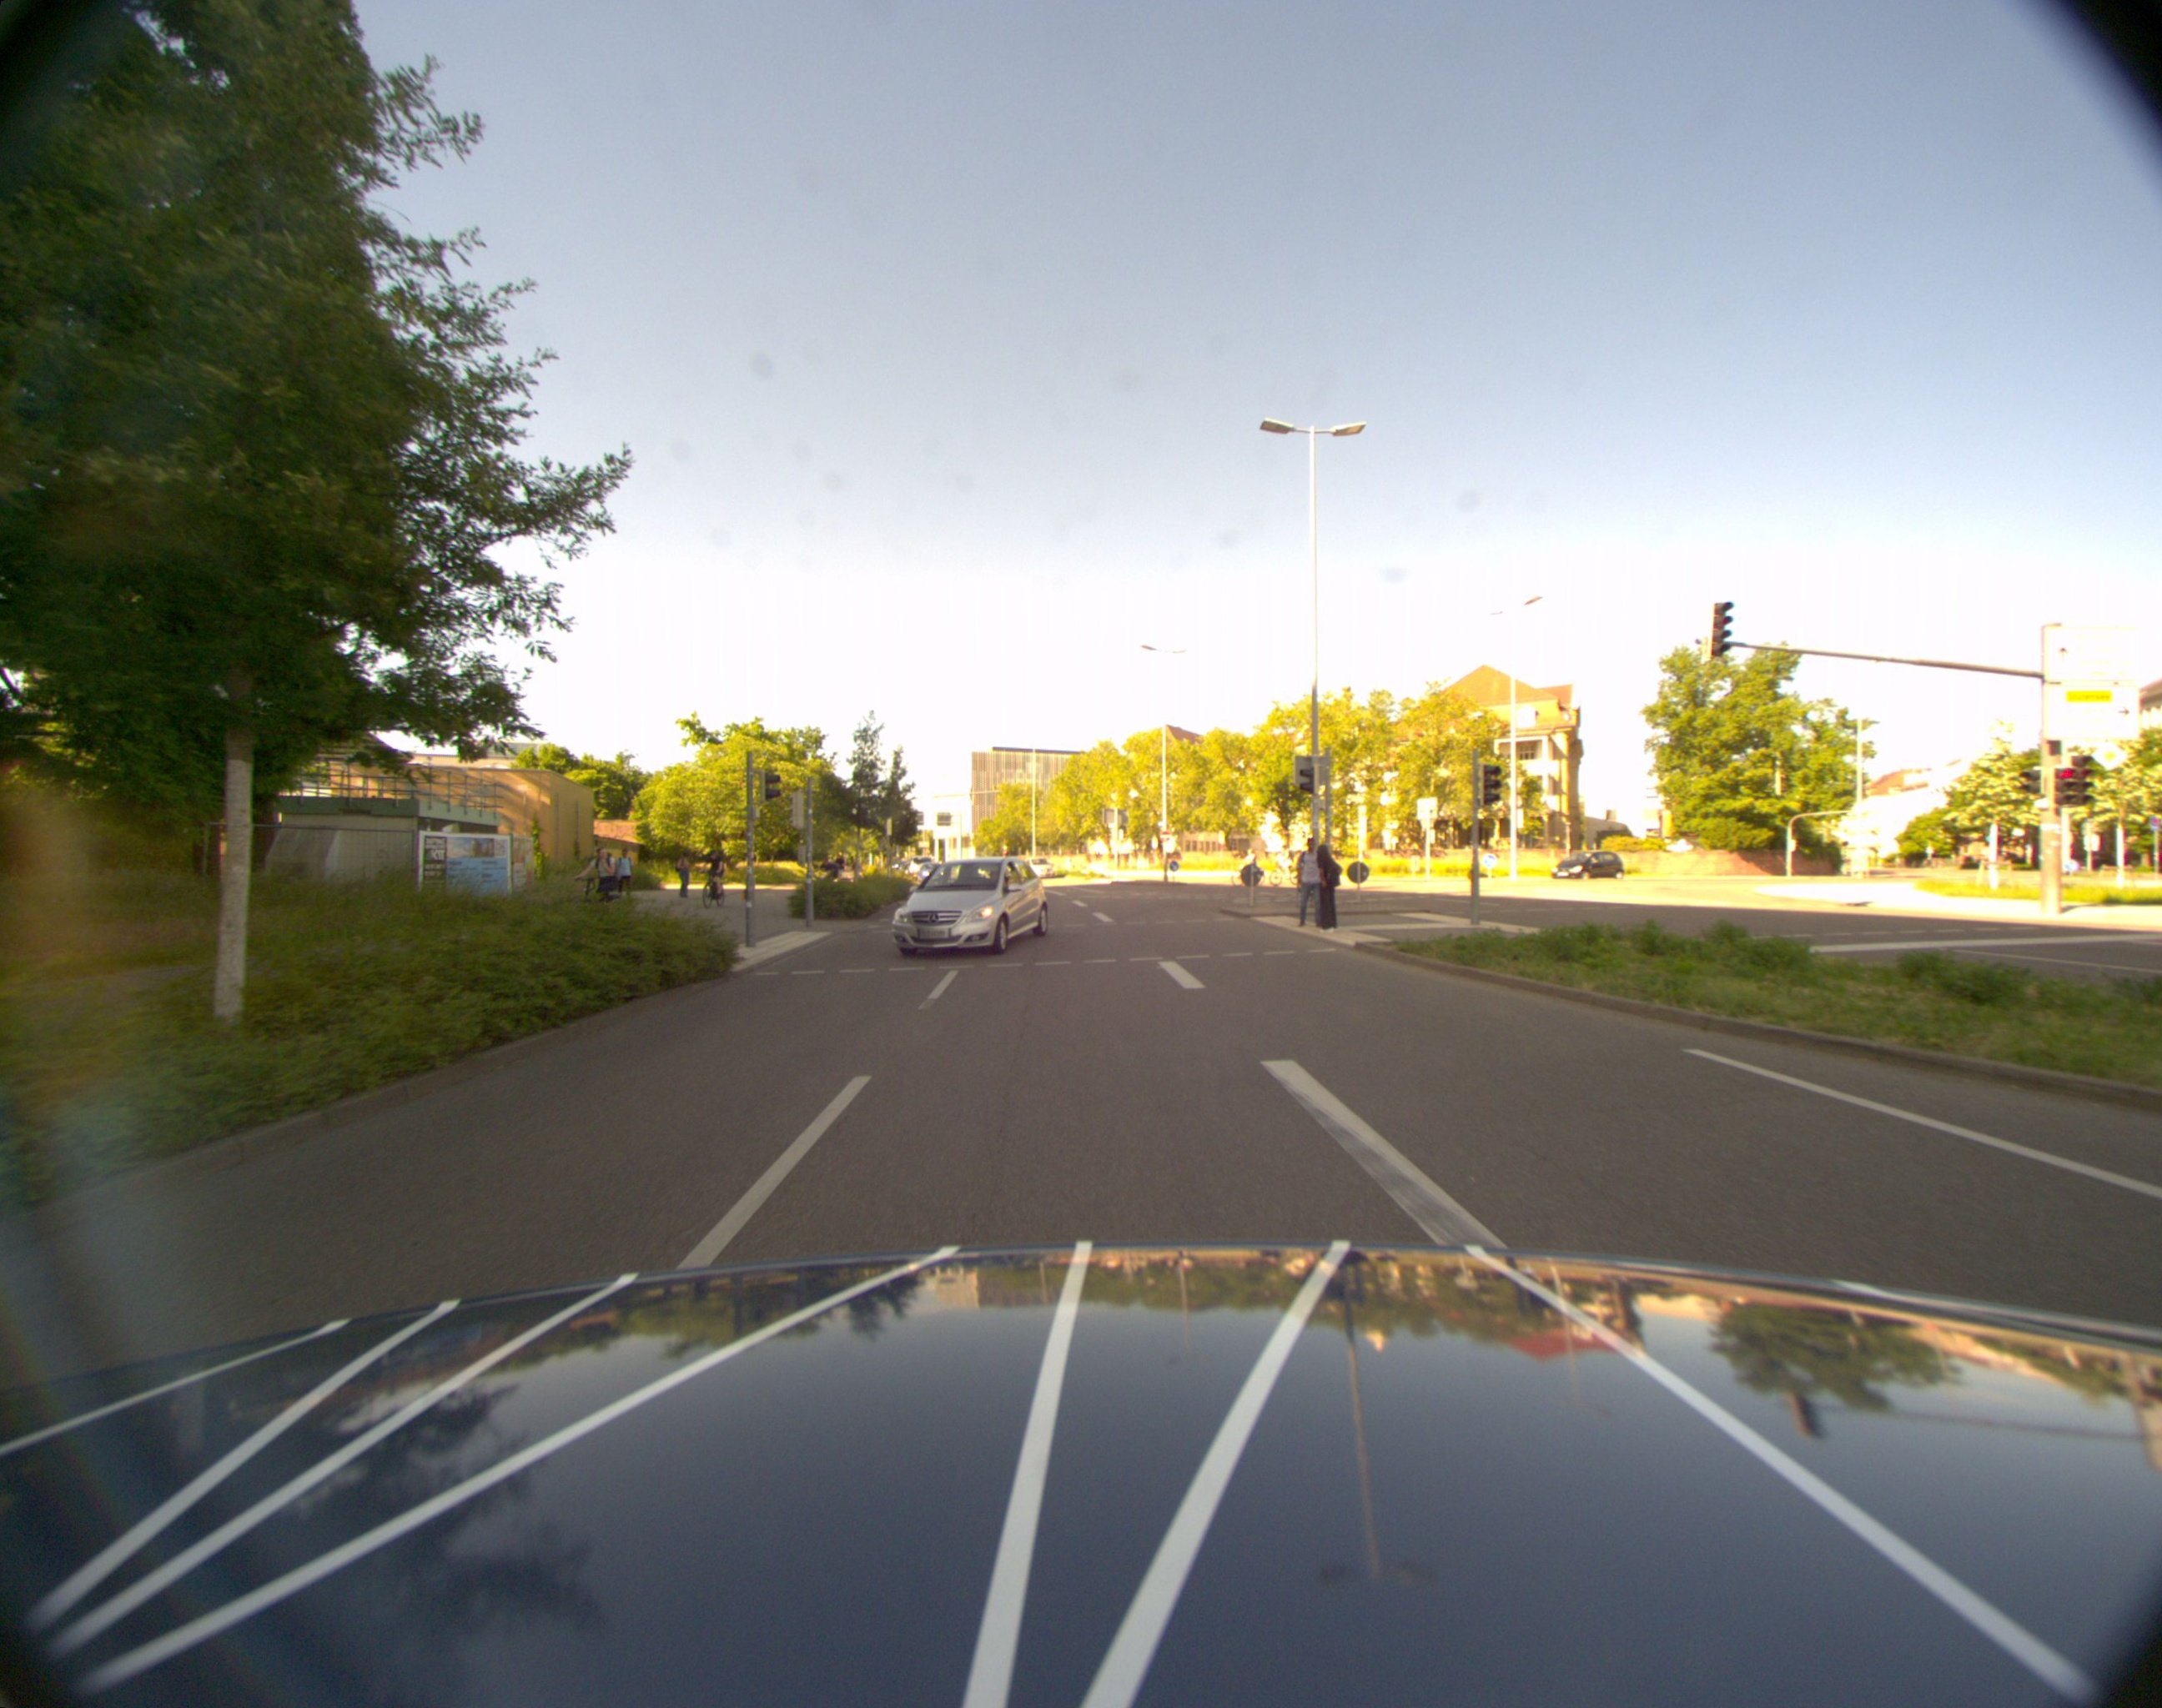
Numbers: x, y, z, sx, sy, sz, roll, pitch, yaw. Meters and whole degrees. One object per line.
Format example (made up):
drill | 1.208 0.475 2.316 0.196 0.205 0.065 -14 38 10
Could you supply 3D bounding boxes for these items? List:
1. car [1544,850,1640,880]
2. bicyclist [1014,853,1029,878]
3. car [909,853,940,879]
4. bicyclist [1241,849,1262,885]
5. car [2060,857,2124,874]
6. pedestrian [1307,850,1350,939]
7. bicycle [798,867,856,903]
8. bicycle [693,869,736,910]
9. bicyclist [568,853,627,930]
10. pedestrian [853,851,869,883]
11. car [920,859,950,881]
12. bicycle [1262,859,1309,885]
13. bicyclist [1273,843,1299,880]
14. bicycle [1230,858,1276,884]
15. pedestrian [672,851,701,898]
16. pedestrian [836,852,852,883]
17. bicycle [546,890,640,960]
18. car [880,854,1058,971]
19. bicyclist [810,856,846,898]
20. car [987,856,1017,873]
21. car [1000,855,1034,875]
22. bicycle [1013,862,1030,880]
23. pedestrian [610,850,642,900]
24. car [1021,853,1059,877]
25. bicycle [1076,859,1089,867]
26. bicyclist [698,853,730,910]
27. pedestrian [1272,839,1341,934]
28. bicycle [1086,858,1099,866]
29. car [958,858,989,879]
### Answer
car | 26.460 0.576 39.365 4.302 1.464 1.997 0 -2 -21
bicyclist | -4.075 0.797 52.025 0.747 1.675 0.976 0 1 -19
car | -12.432 0.950 60.294 1.940 1.941 4.750 -2 0 -17
bicyclist | 7.871 0.590 35.066 0.776 1.653 0.643 -1 0 -6
car | 113.487 1.305 85.341 3.792 1.805 2.003 0 0 22
pedestrian | 4.557 0.727 14.017 0.680 1.603 0.720 -1 1 14
bicycle | -8.883 1.069 26.679 0.641 1.158 1.874 -1 0 36
bicycle | -10.873 1.023 22.571 0.643 1.158 1.869 0 0 -10
bicyclist | -9.317 0.703 14.668 0.643 1.436 0.776 1 0 -3
pedestrian | -12.754 0.774 43.981 0.731 1.805 0.736 -1 -2 -3
car | -10.362 1.104 53.736 1.706 1.433 3.994 -2 0 -17
bicycle | 9.230 0.790 34.235 1.970 1.158 0.778 0 -1 -21
bicyclist | 9.236 0.337 34.244 0.777 1.653 0.784 -1 0 -21
bicycle | 7.922 0.781 35.084 1.967 1.158 0.643 0 -1 -6
pedestrian | -13.992 0.732 26.955 0.734 1.633 0.679 -3 -2 38
pedestrian | -13.715 0.807 43.962 0.731 1.770 0.736 -1 -2 -3
bicycle | -9.334 1.330 14.622 0.643 1.158 1.870 1 0 -3
car | -1.811 0.903 13.977 1.769 1.585 4.640 -1 2 11
bicyclist | -8.882 0.799 26.697 0.641 1.436 0.955 -1 0 35
car | -7.594 1.005 72.686 1.985 1.545 4.717 -2 0 -17
car | -5.557 0.935 65.450 1.985 1.545 4.717 -2 0 -17
bicycle | -4.108 1.130 52.124 0.749 1.158 1.867 0 1 -19
pedestrian | -15.106 0.693 25.237 0.734 1.633 0.679 -2 -2 34
car | -3.101 0.815 56.837 1.791 1.615 4.310 -2 0 -17
bicycle | 0.203 1.318 112.048 0.797 1.069 2.081 0 -3 -36
bicyclist | -10.860 0.798 22.483 0.643 1.635 0.776 0 0 -9
pedestrian | 4.531 0.630 15.282 1.097 1.822 0.754 -2 1 -29
bicycle | 1.613 1.215 110.183 0.797 1.069 2.081 0 -3 -36
car | -8.103 1.066 57.213 2.001 1.460 3.995 -1 0 -12
